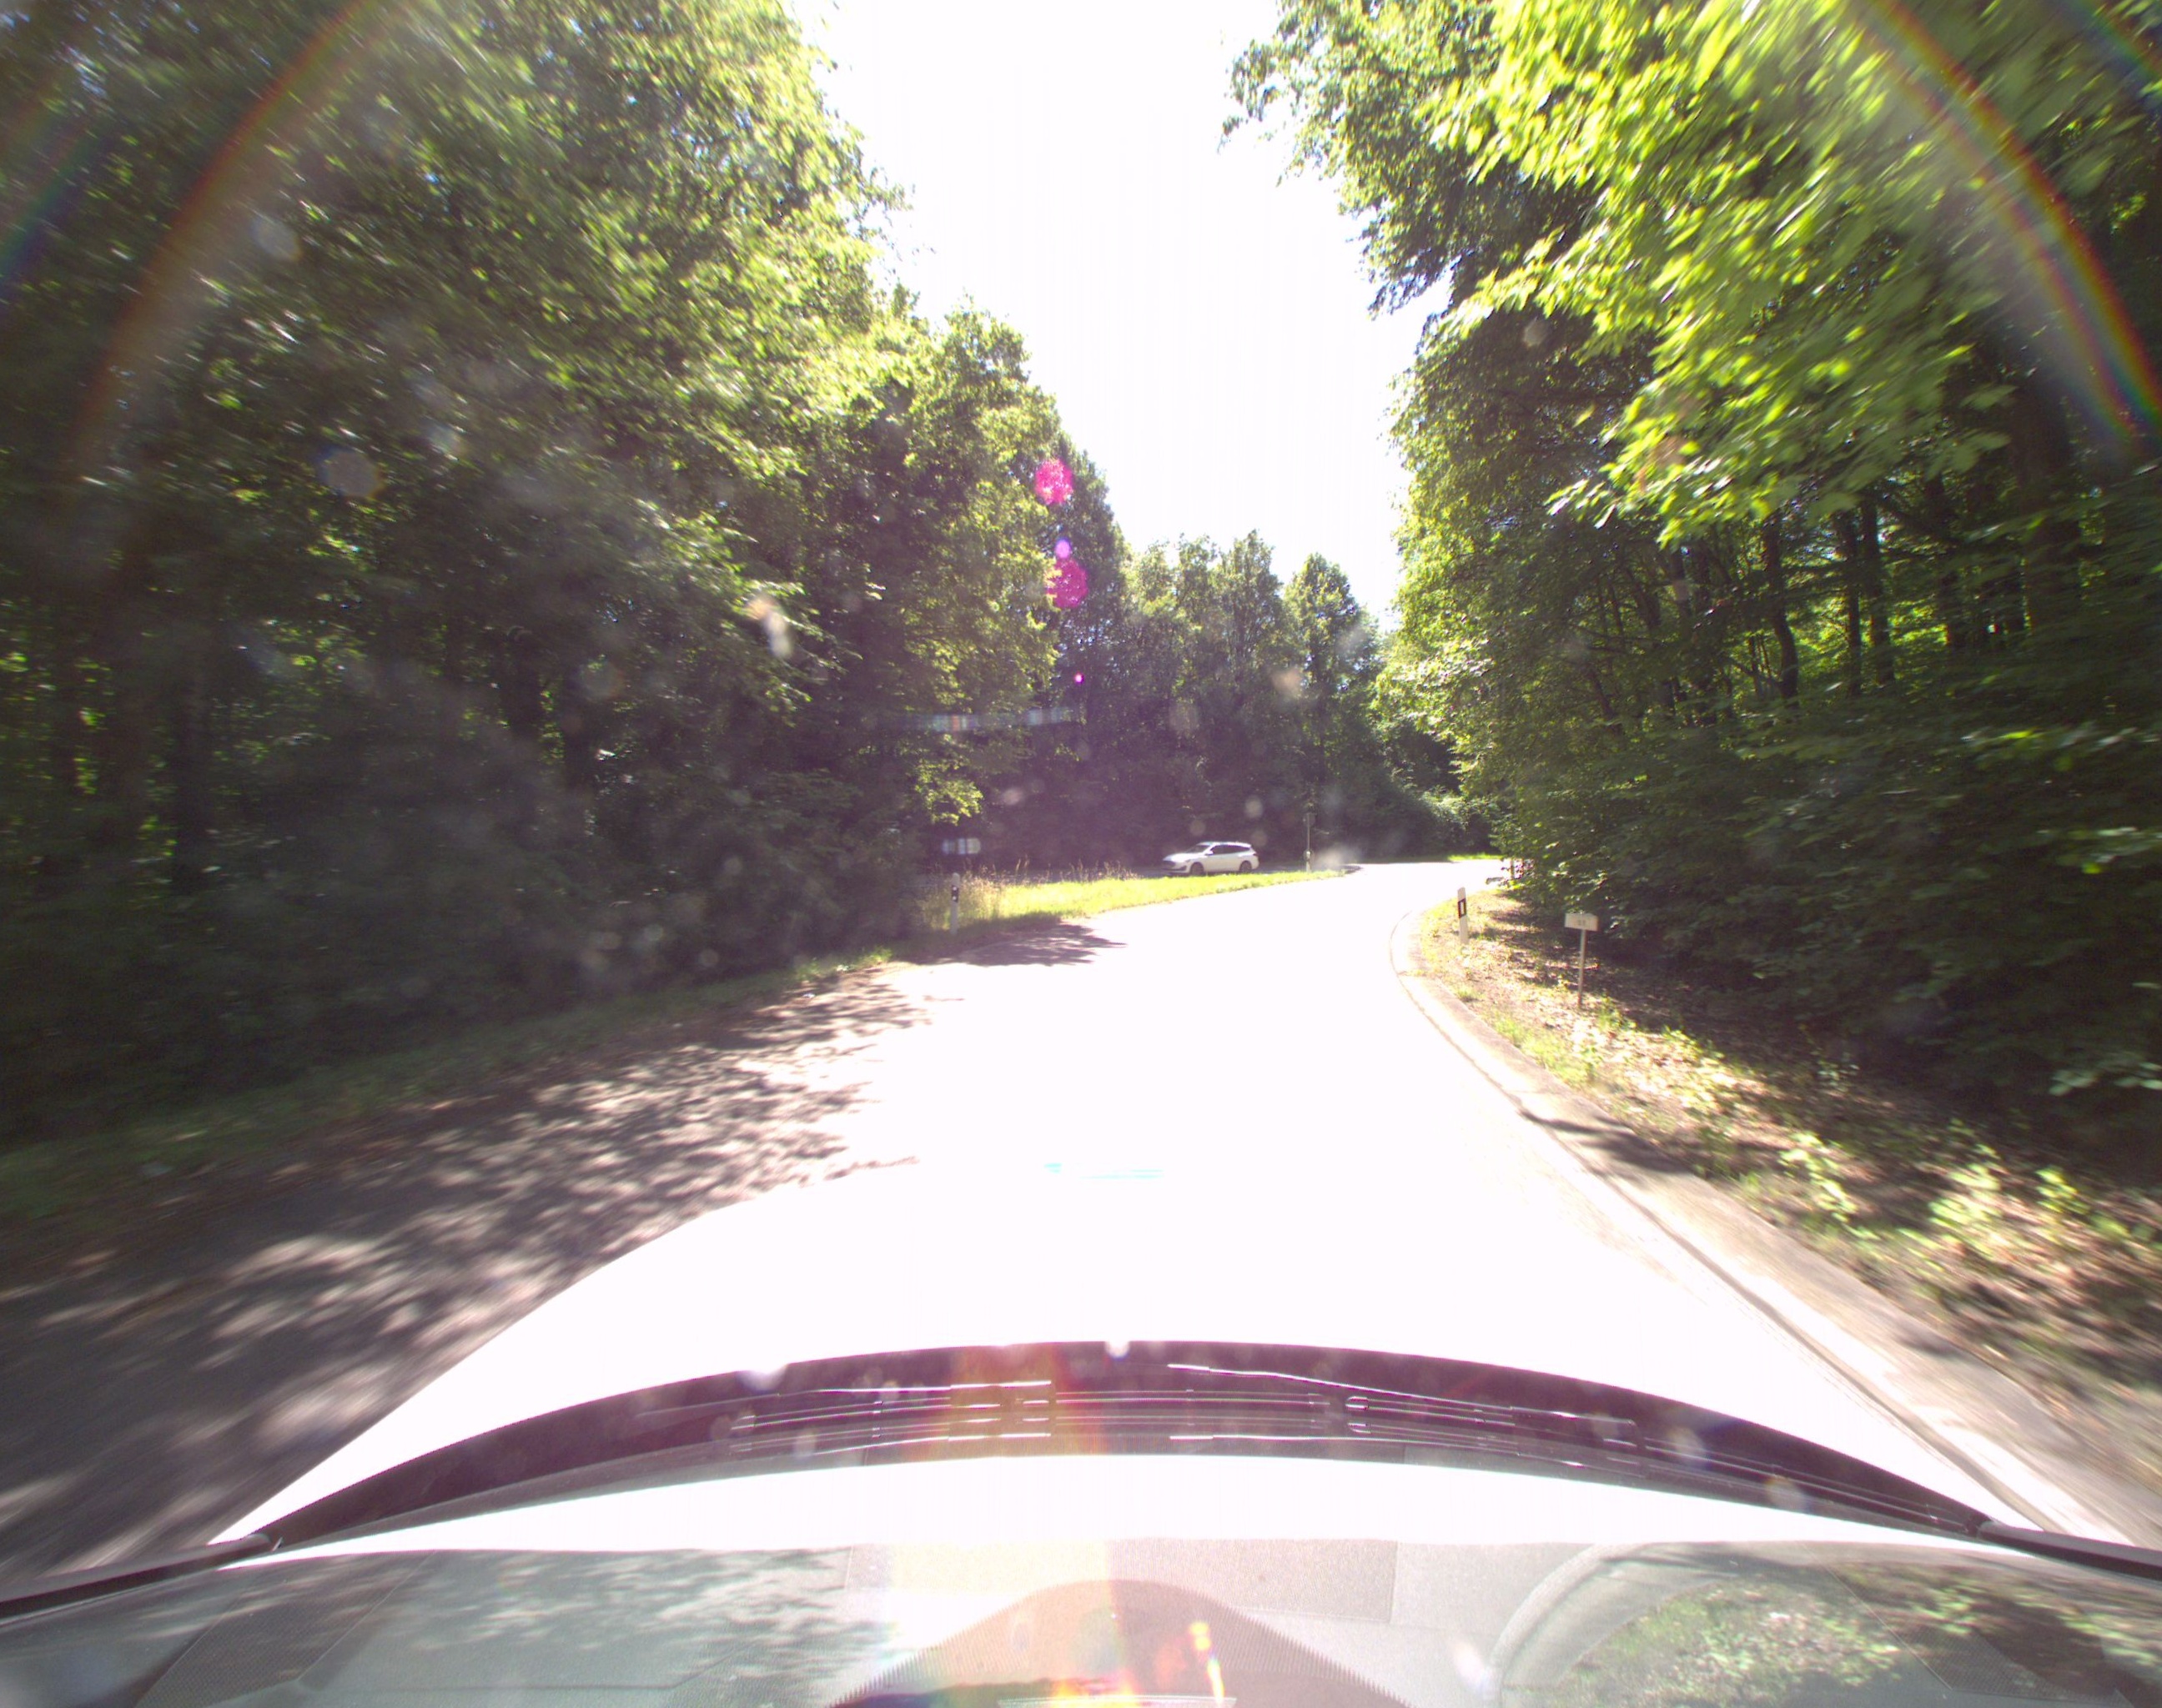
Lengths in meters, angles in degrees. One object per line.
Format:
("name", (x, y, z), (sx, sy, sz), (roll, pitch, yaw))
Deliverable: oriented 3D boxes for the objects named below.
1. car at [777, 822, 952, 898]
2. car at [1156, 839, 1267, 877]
("car", (-7.359, 0.103, 27.896), (5.445, 2.345, 2.048), (-2, 3, -32))
("car", (5.798, 0.151, 36.001), (4.885, 1.451, 1.745), (-2, 3, -30))
